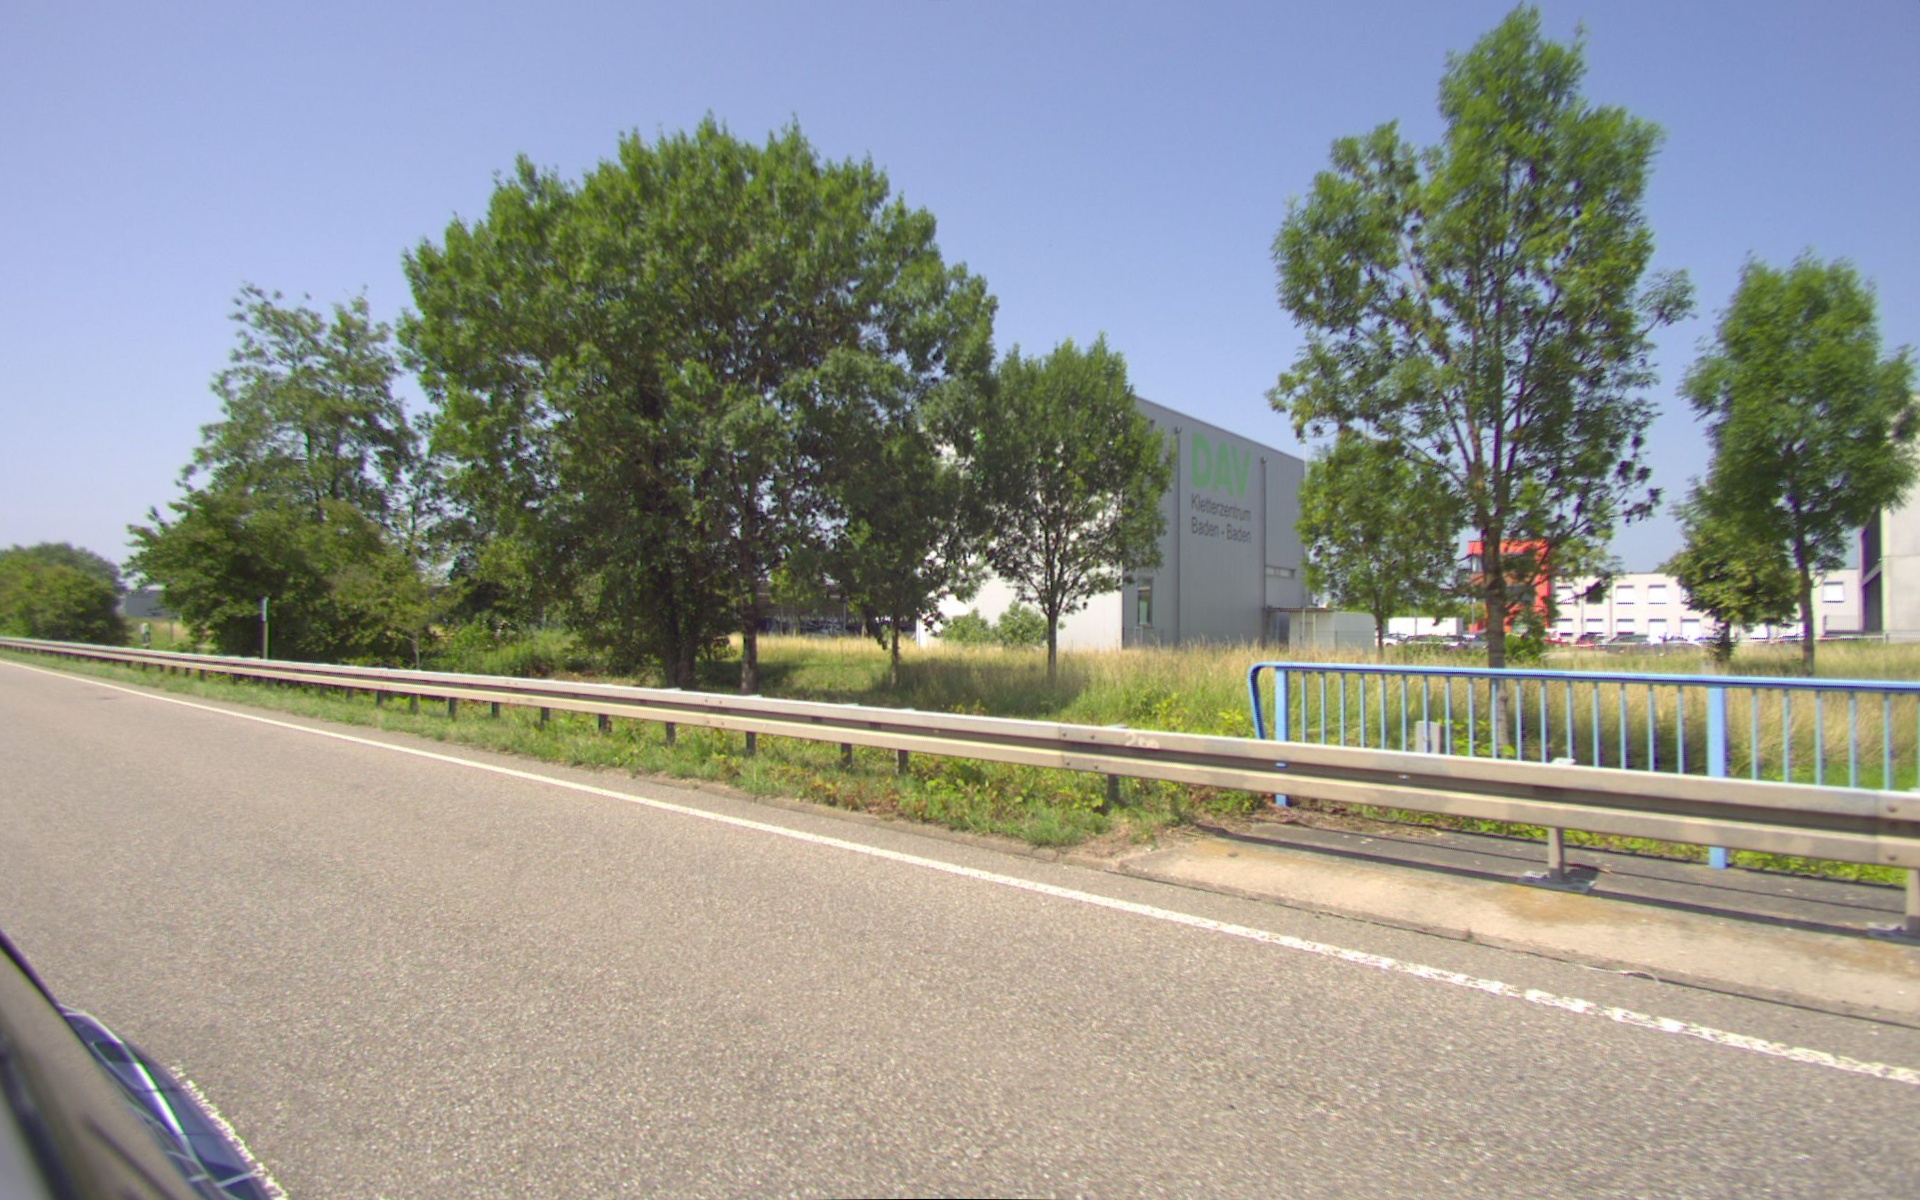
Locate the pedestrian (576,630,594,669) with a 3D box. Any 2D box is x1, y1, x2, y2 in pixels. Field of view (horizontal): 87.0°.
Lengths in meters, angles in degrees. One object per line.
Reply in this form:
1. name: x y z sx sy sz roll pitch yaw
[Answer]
1. pedestrian: -17.458 2.295 47.114 0.707 1.762 0.940 0 -1 -17
